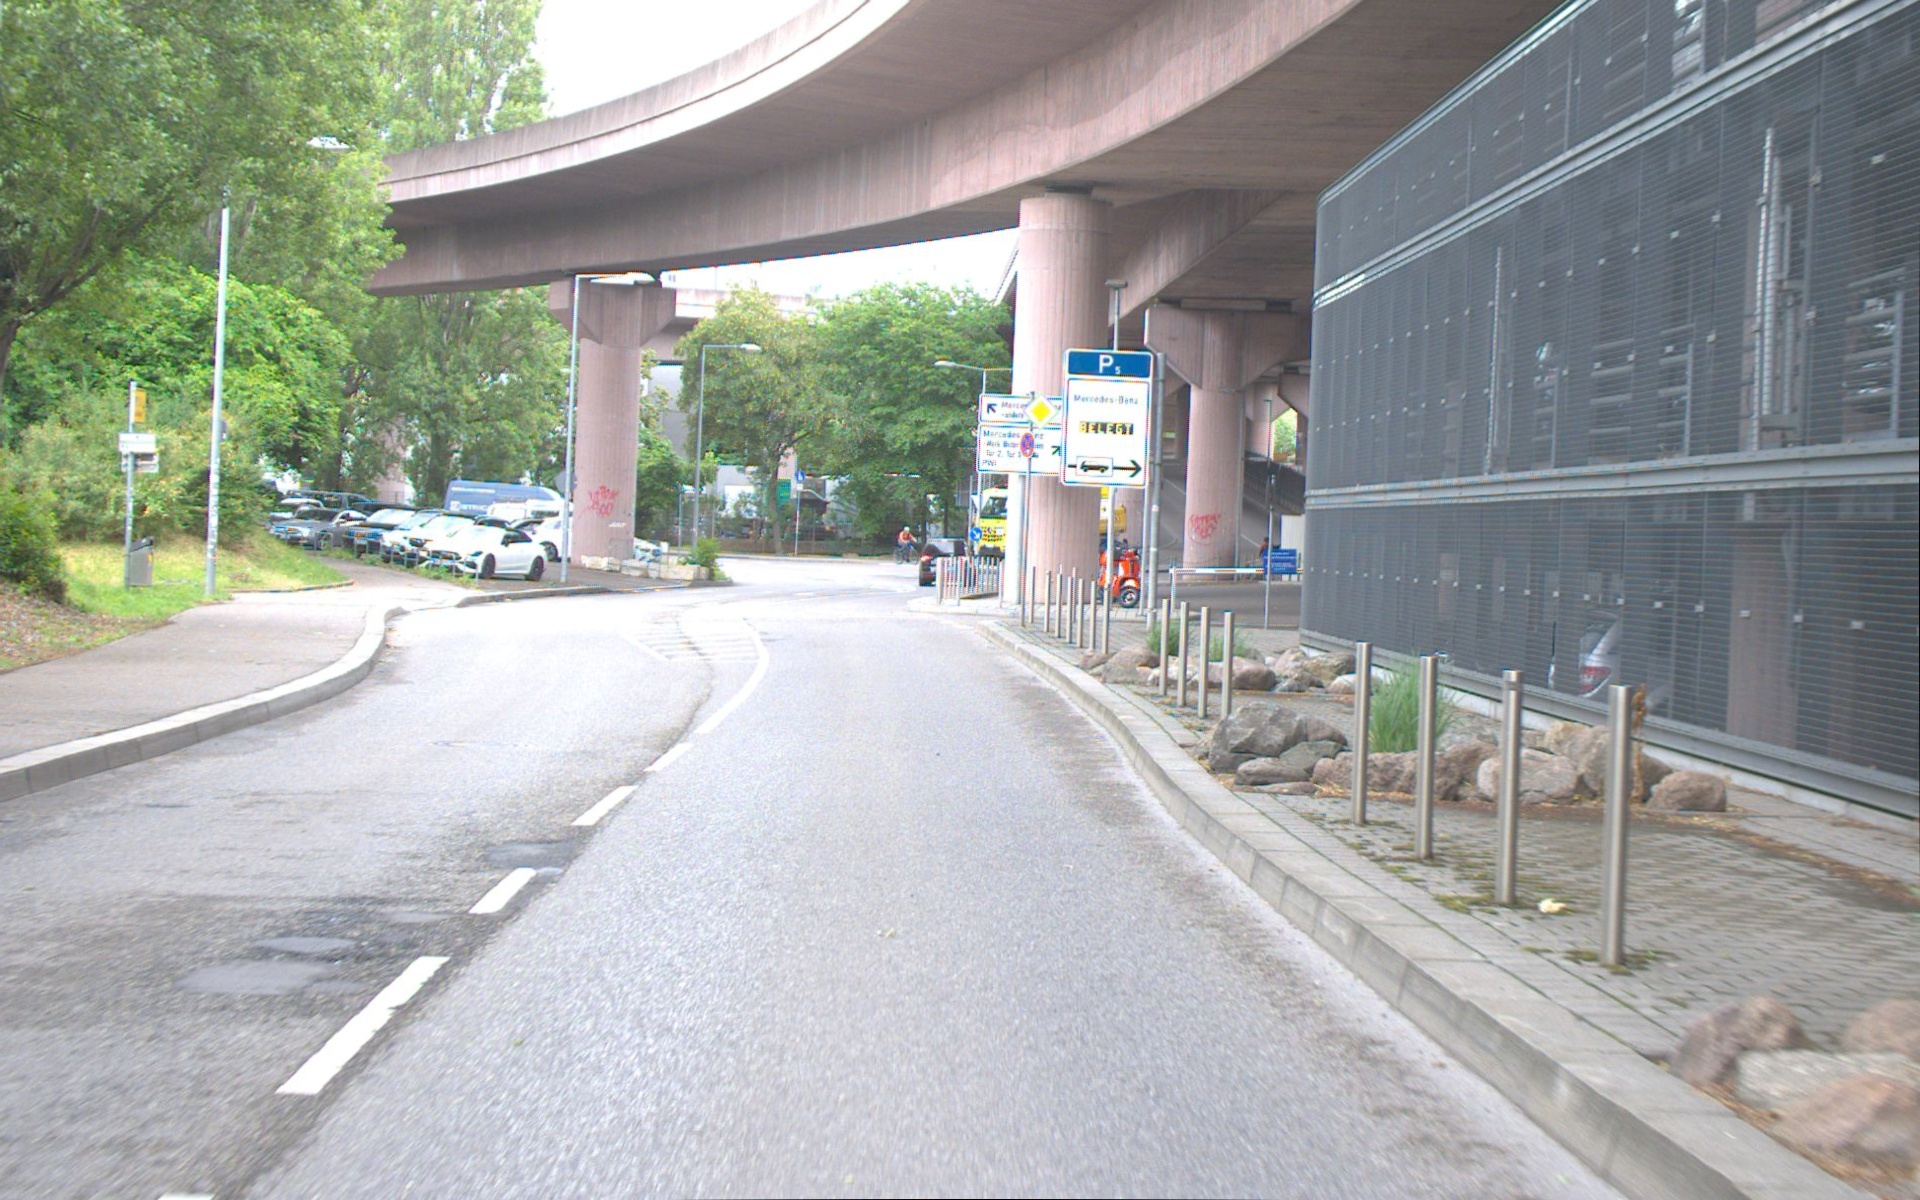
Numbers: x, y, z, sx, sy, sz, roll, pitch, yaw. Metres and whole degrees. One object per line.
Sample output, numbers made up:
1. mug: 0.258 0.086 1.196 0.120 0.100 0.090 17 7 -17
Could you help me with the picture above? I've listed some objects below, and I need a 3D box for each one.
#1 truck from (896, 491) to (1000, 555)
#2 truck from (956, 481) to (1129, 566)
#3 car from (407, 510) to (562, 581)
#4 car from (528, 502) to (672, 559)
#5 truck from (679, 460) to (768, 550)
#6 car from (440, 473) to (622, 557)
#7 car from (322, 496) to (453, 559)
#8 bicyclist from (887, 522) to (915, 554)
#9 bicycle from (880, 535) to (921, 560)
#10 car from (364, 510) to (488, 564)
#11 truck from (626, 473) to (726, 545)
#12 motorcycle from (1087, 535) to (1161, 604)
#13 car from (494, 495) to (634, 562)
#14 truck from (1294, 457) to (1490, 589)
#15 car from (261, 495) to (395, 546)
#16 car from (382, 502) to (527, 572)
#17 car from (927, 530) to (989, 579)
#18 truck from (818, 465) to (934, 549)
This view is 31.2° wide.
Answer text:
1. truck: -0.629 -3.878 172.326 2.914 2.889 6.561 0 3 -22
2. truck: 3.745 -3.463 154.190 2.934 3.469 8.225 7 6 42
3. car: -12.657 -1.432 91.802 1.996 1.474 4.823 6 0 19
4. car: -12.175 -2.348 116.438 4.383 1.600 1.953 5 2 12
5. truck: -13.453 -5.440 195.144 3.202 4.763 8.052 1 3 -17
6. car: -15.583 -3.096 125.079 6.175 2.715 2.368 3 1 1
7. car: -16.961 -2.130 101.991 1.859 1.685 4.159 3 1 23
8. bicyclist: -2.615 -2.736 151.713 0.796 1.400 1.066 0 1 -32
9. bicycle: -2.645 -2.320 151.767 0.802 1.094 2.131 0 1 -32
10. car: -15.404 -1.806 99.335 1.789 1.449 3.742 3 1 22
11. truck: -15.851 -5.089 191.289 3.054 3.606 7.918 1 3 -24
12. motorcycle: 3.388 -0.646 71.149 0.795 1.362 2.130 0 2 -18
13. car: -14.082 -2.550 122.295 4.557 2.104 1.850 3 1 7
14. truck: 17.074 -2.983 135.347 3.145 4.900 8.696 3 1 41
15. car: -20.586 -2.590 112.132 1.859 1.482 4.883 5 3 23
16. car: -14.041 -1.746 95.658 1.996 1.577 4.395 7 1 20
17. car: -0.086 -1.654 123.930 1.993 1.673 4.561 2 1 -2
18. truck: -4.236 -4.667 171.089 3.065 3.854 8.051 0 3 -22
